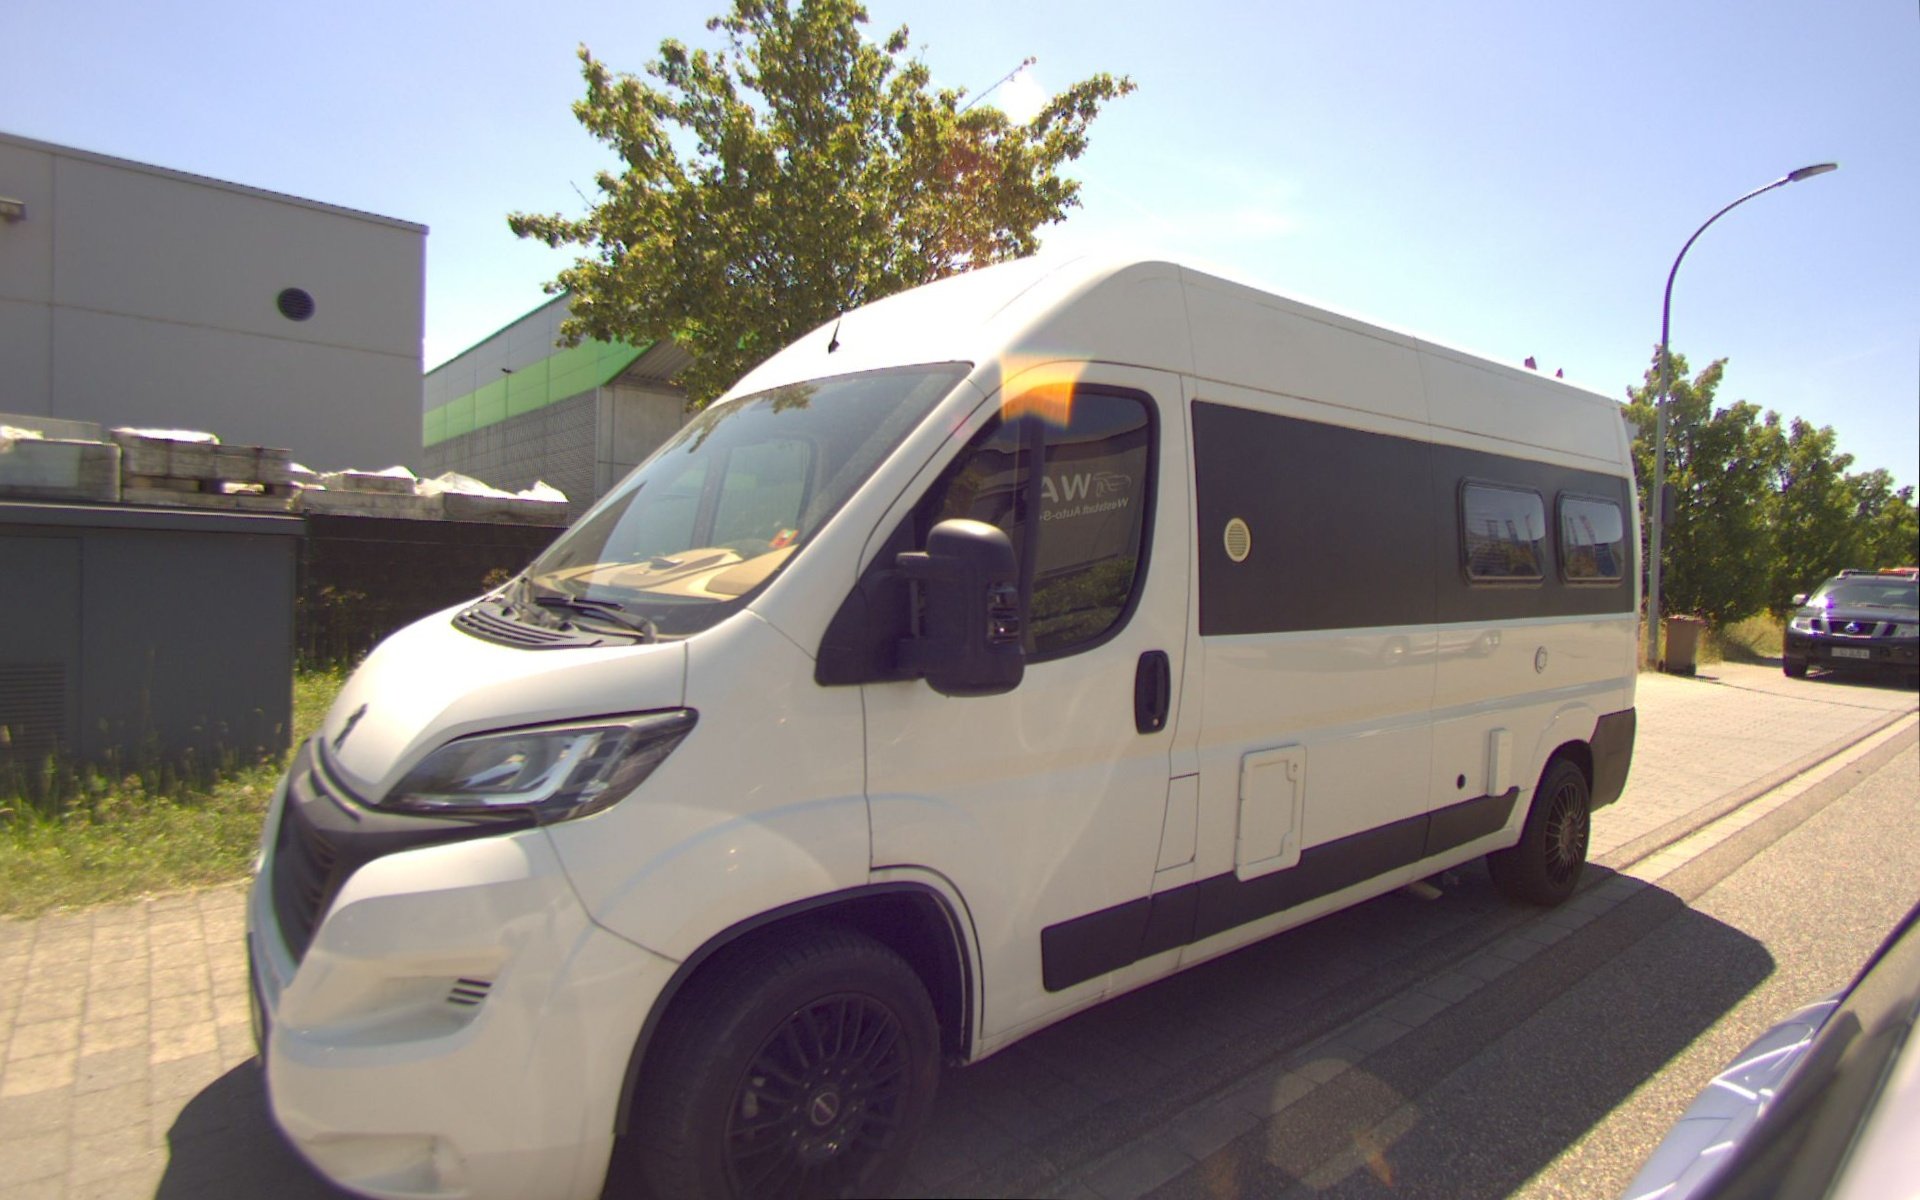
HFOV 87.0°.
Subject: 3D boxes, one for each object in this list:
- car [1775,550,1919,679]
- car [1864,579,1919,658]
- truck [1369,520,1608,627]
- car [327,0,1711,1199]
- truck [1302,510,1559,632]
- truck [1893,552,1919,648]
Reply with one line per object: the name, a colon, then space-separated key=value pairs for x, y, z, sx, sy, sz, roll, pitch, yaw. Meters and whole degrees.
car: x=15.937 y=0.182 z=17.405 sx=5.064 sy=1.907 sz=1.998 roll=0 pitch=3 yaw=-40
car: x=20.952 y=0.382 z=21.793 sx=3.932 sy=1.549 sz=1.742 roll=0 pitch=4 yaw=-42
truck: x=15.714 y=-0.855 z=30.406 sx=2.267 sy=2.907 sz=5.911 roll=0 pitch=3 yaw=-43
car: x=0.917 y=0.049 z=4.429 sx=6.040 sy=2.528 sz=2.274 roll=0 pitch=3 yaw=-39
truck: x=12.631 y=-0.837 z=27.559 sx=2.372 sy=2.949 sz=5.833 roll=0 pitch=2 yaw=-41
truck: x=24.270 y=0.026 z=24.666 sx=4.313 sy=2.208 sz=1.683 roll=0 pitch=4 yaw=-41
